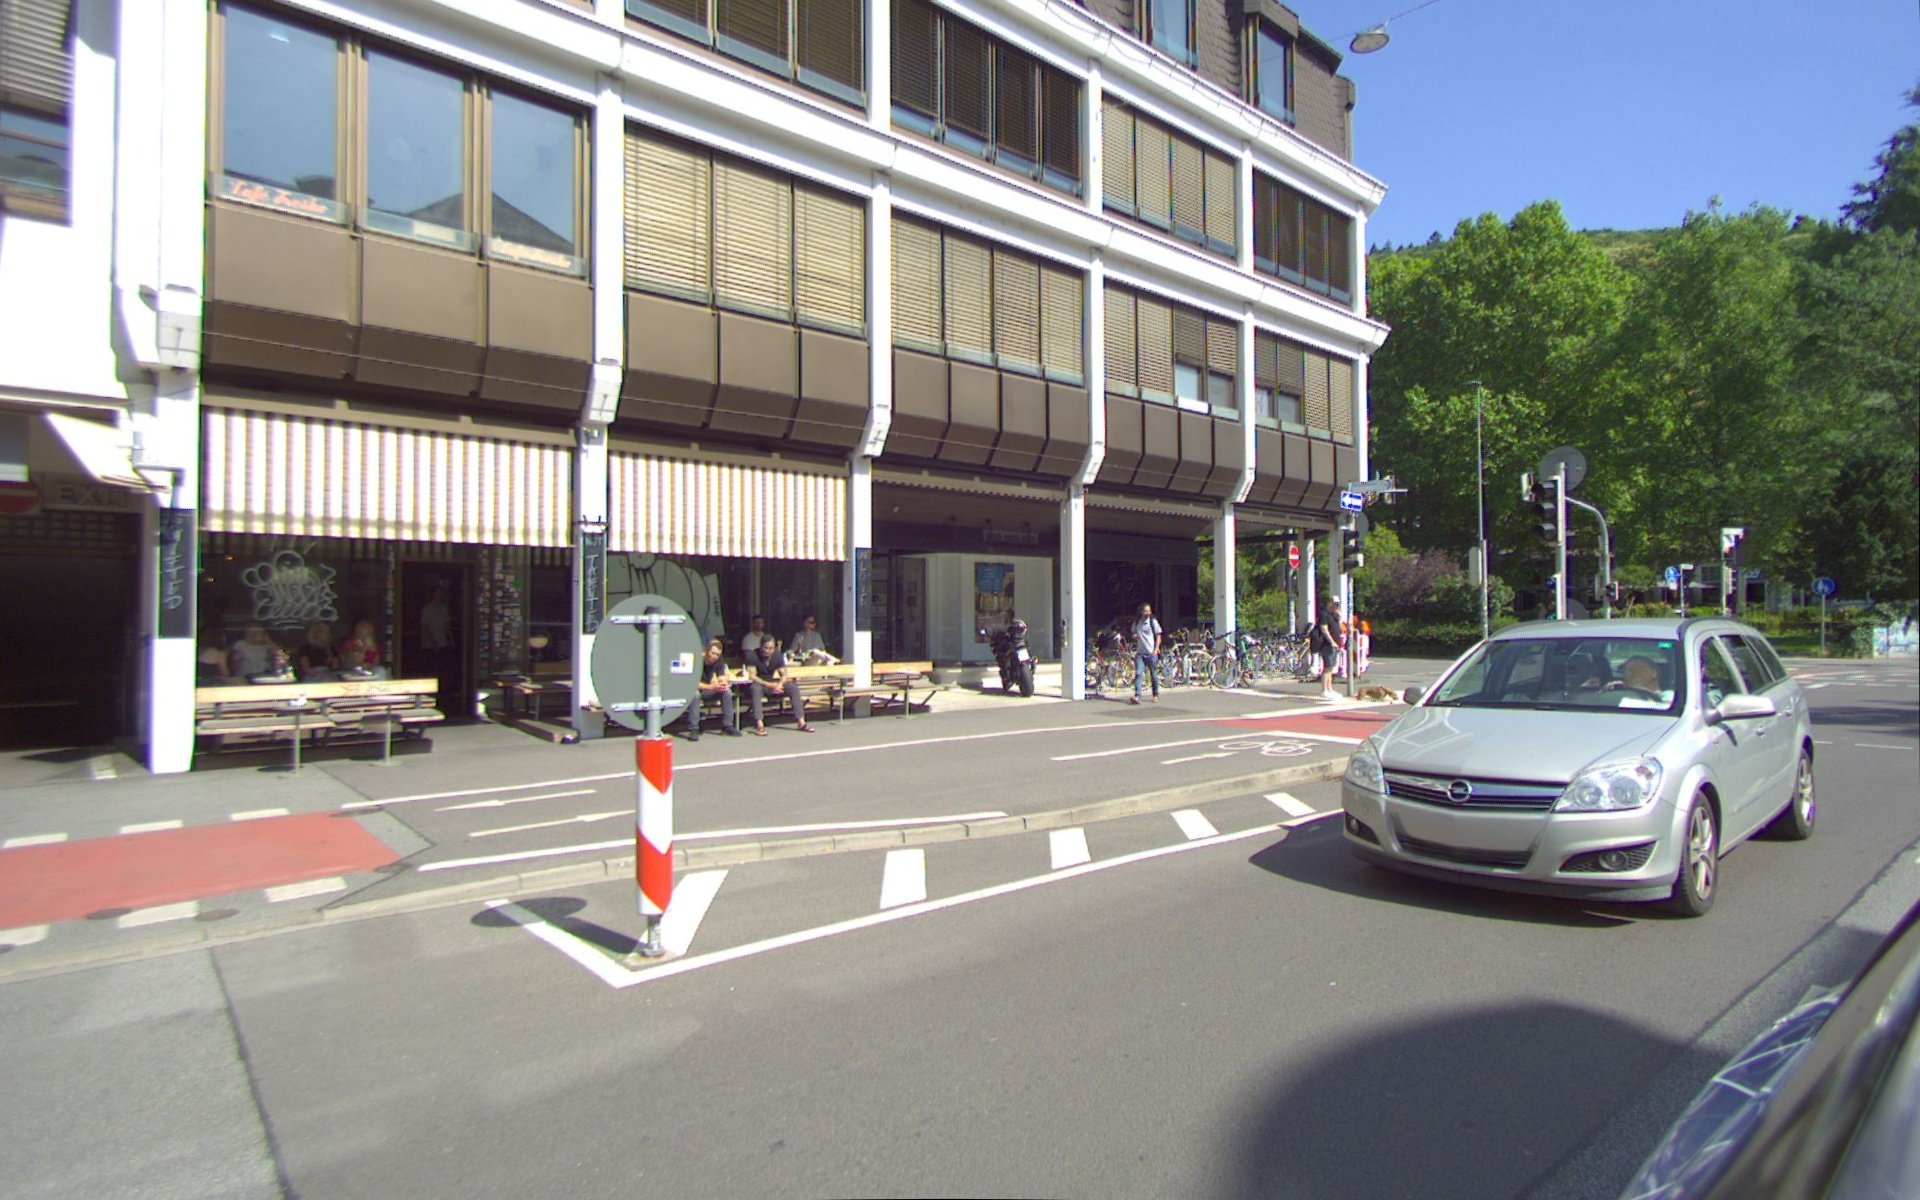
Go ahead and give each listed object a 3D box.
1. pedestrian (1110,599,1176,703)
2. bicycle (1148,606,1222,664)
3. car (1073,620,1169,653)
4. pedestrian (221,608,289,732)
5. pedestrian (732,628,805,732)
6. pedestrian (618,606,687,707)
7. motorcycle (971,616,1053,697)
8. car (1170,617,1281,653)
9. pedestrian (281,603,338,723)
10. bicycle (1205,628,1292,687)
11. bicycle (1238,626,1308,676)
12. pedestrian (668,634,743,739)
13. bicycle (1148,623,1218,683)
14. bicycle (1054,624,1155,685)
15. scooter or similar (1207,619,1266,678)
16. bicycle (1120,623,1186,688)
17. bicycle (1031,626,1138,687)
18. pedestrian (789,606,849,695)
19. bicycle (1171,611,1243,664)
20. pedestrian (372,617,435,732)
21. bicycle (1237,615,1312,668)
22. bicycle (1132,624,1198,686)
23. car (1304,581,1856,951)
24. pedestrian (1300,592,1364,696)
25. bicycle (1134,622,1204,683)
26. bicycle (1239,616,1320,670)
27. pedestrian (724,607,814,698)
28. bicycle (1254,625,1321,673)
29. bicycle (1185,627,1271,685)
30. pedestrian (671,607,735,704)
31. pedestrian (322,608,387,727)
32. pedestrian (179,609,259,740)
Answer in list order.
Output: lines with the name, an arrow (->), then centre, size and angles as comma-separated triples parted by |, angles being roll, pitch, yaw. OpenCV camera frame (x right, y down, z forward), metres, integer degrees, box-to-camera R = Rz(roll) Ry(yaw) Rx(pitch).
pedestrian -> 3.086, 0.842, 17.079 | 0.683, 1.684, 0.836 | -1, 0, -31
bicycle -> 6.490, 0.989, 29.196 | 1.938, 1.439, 0.529 | 6, 0, 12
car -> 7.163, 1.626, 45.307 | 1.826, 1.381, 4.092 | 2, -2, -39
pedestrian -> -8.221, 0.783, 11.793 | 0.574, 1.385, 0.745 | 1, -2, -41
pedestrian -> -2.433, 0.989, 12.809 | 0.683, 1.232, 0.714 | -1, 0, -31
pedestrian -> -4.496, 0.809, 14.805 | 0.685, 1.414, 0.814 | 0, -1, -41
motorcycle -> 0.896, 0.978, 18.352 | 0.929, 1.307, 2.247 | -1, 0, -12
car -> 10.720, 1.387, 41.102 | 1.826, 1.381, 4.092 | 2, -2, -39
pedestrian -> -7.750, 0.728, 12.056 | 0.470, 1.385, 0.762 | 1, -2, -40
bicycle -> 5.843, 1.148, 20.415 | 2.199, 1.135, 0.278 | 1, -2, -32
bicycle -> 7.021, 1.135, 22.705 | 1.446, 1.079, 0.376 | 1, 0, 7
pedestrian -> -3.094, 1.027, 12.288 | 0.683, 1.187, 0.714 | -1, 0, -31
bicycle -> 4.557, 1.062, 20.806 | 0.272, 1.134, 1.723 | 1, 0, -32
bicycle -> 2.810, 1.050, 19.909 | 2.235, 1.135, 0.273 | -1, -2, 44
scooter or similar -> 6.066, 1.050, 22.270 | 0.471, 1.248, 1.250 | 1, -1, -33
bicycle -> 3.753, 1.058, 19.783 | 0.272, 1.222, 1.551 | 1, -2, -32
bicycle -> 2.368, 1.068, 19.490 | 2.230, 1.111, 0.274 | -1, -2, 38
pedestrian -> -2.331, 0.817, 16.733 | 0.684, 1.414, 0.712 | -1, 0, -40
bicycle -> 6.939, 1.053, 28.488 | 1.937, 1.440, 0.529 | 1, -1, 12
pedestrian -> -6.982, 0.904, 12.696 | 0.527, 1.385, 0.837 | 1, -2, -40
bicycle -> 8.275, 1.082, 26.663 | 1.830, 1.334, 0.529 | 1, -1, 12
bicycle -> 4.034, 1.056, 20.012 | 0.272, 1.134, 1.576 | 1, 0, -32
car -> 4.077, 0.727, 6.323 | 4.329, 1.542, 1.710 | 1, -2, -41
pedestrian -> 6.893, 0.795, 18.763 | 0.683, 1.859, 0.836 | -1, 0, -31
bicycle -> 4.234, 1.047, 20.589 | 0.272, 1.134, 1.723 | 1, 0, -32
bicycle -> 8.230, 1.087, 26.136 | 1.937, 1.334, 0.529 | 1, -1, 12
pedestrian -> -3.040, 0.806, 16.110 | 1.086, 1.368, 0.897 | -1, 0, -41
bicycle -> 7.522, 1.122, 23.285 | 1.442, 1.079, 0.309 | 1, 0, -4
bicycle -> 5.479, 1.114, 20.617 | 2.199, 1.135, 0.278 | 1, -2, -32
pedestrian -> -3.906, 0.823, 15.391 | 0.684, 1.414, 0.712 | -1, 0, -40
pedestrian -> -7.372, 0.797, 12.314 | 0.527, 1.385, 0.878 | 1, -2, -40
pedestrian -> -8.157, 0.794, 11.136 | 0.677, 1.385, 0.536 | 1, -2, -39
